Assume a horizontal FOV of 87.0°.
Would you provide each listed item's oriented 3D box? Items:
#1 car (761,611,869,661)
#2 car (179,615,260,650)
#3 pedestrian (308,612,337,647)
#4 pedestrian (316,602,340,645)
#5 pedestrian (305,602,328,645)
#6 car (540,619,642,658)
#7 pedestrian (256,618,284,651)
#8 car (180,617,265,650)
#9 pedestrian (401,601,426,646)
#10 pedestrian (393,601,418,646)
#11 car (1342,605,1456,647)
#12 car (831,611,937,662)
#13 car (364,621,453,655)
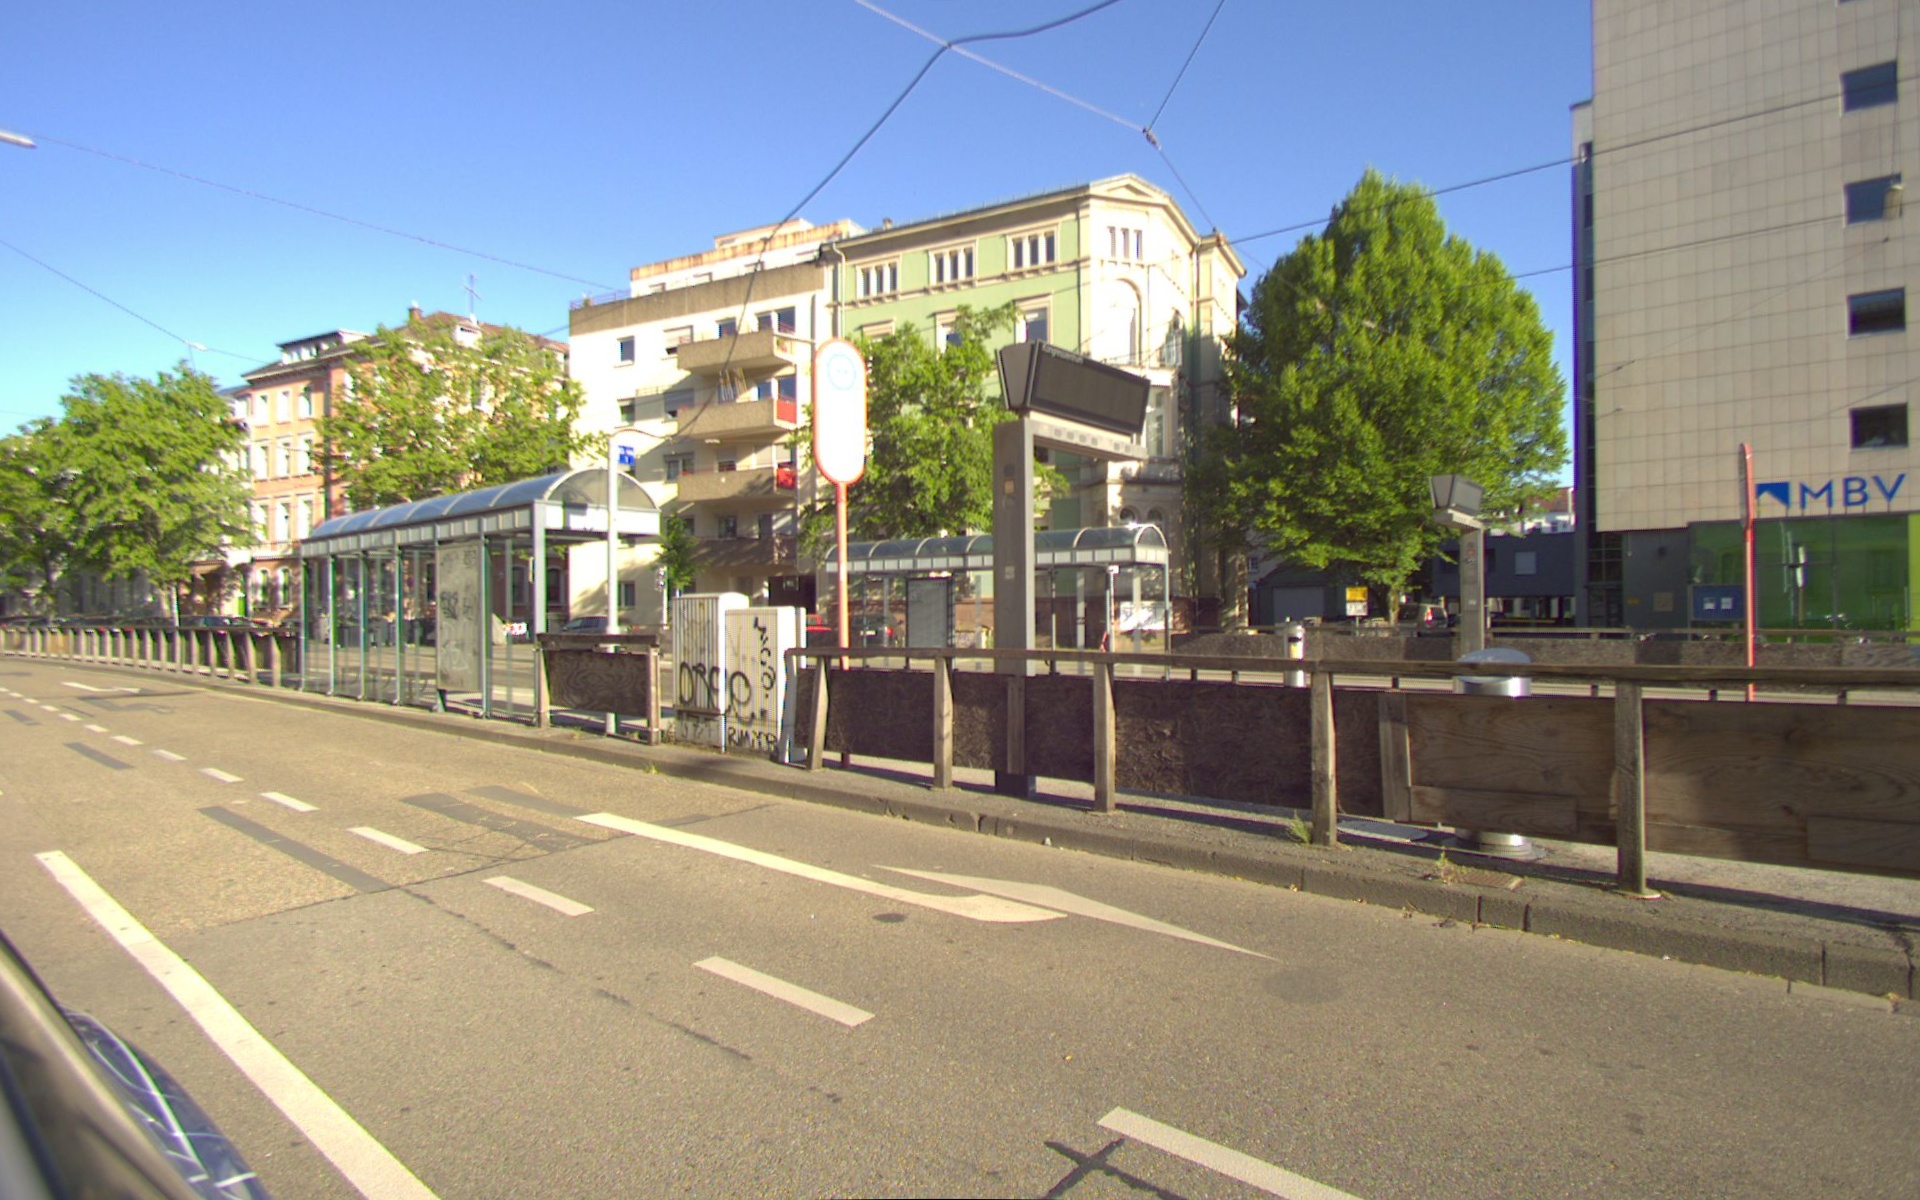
[{"bbox_3d":[-4.866,1.207,34.464,1.754,1.594,3.965,-1,-1,26],"label":"car"},{"bbox_3d":[-32.832,1.437,44.844,3.988,1.500,1.629,-1,-2,33],"label":"car"},{"bbox_3d":[-31.871,1.475,50.597,1.016,1.733,0.846,-1,-2,32],"label":"pedestrian"},{"bbox_3d":[-33.039,1.236,52.894,0.753,2.224,0.804,-1,-2,30],"label":"pedestrian"},{"bbox_3d":[-34.261,1.252,53.886,0.755,2.224,0.803,-1,-2,36],"label":"pedestrian"},{"bbox_3d":[-14.050,1.437,38.542,3.725,1.438,1.637,-1,-1,29],"label":"car"},{"bbox_3d":[-34.076,1.692,49.971,0.888,1.641,0.859,-1,-2,31],"label":"pedestrian"},{"bbox_3d":[-39.584,1.787,54.428,1.825,1.721,4.130,0,-1,-5],"label":"car"},{"bbox_3d":[-27.144,1.159,50.231,0.753,2.224,0.804,-1,-2,30],"label":"pedestrian"},{"bbox_3d":[-27.838,1.168,50.785,0.753,2.224,0.804,-1,-2,30],"label":"pedestrian"},{"bbox_3d":[15.775,0.894,36.453,1.544,1.423,3.430,-1,0,-38],"label":"car"},{"bbox_3d":[-2.432,1.175,33.417,1.754,1.594,3.965,-1,-1,26],"label":"car"},{"bbox_3d":[-23.789,1.623,43.642,3.986,1.407,1.592,-1,-2,32],"label":"car"}]
